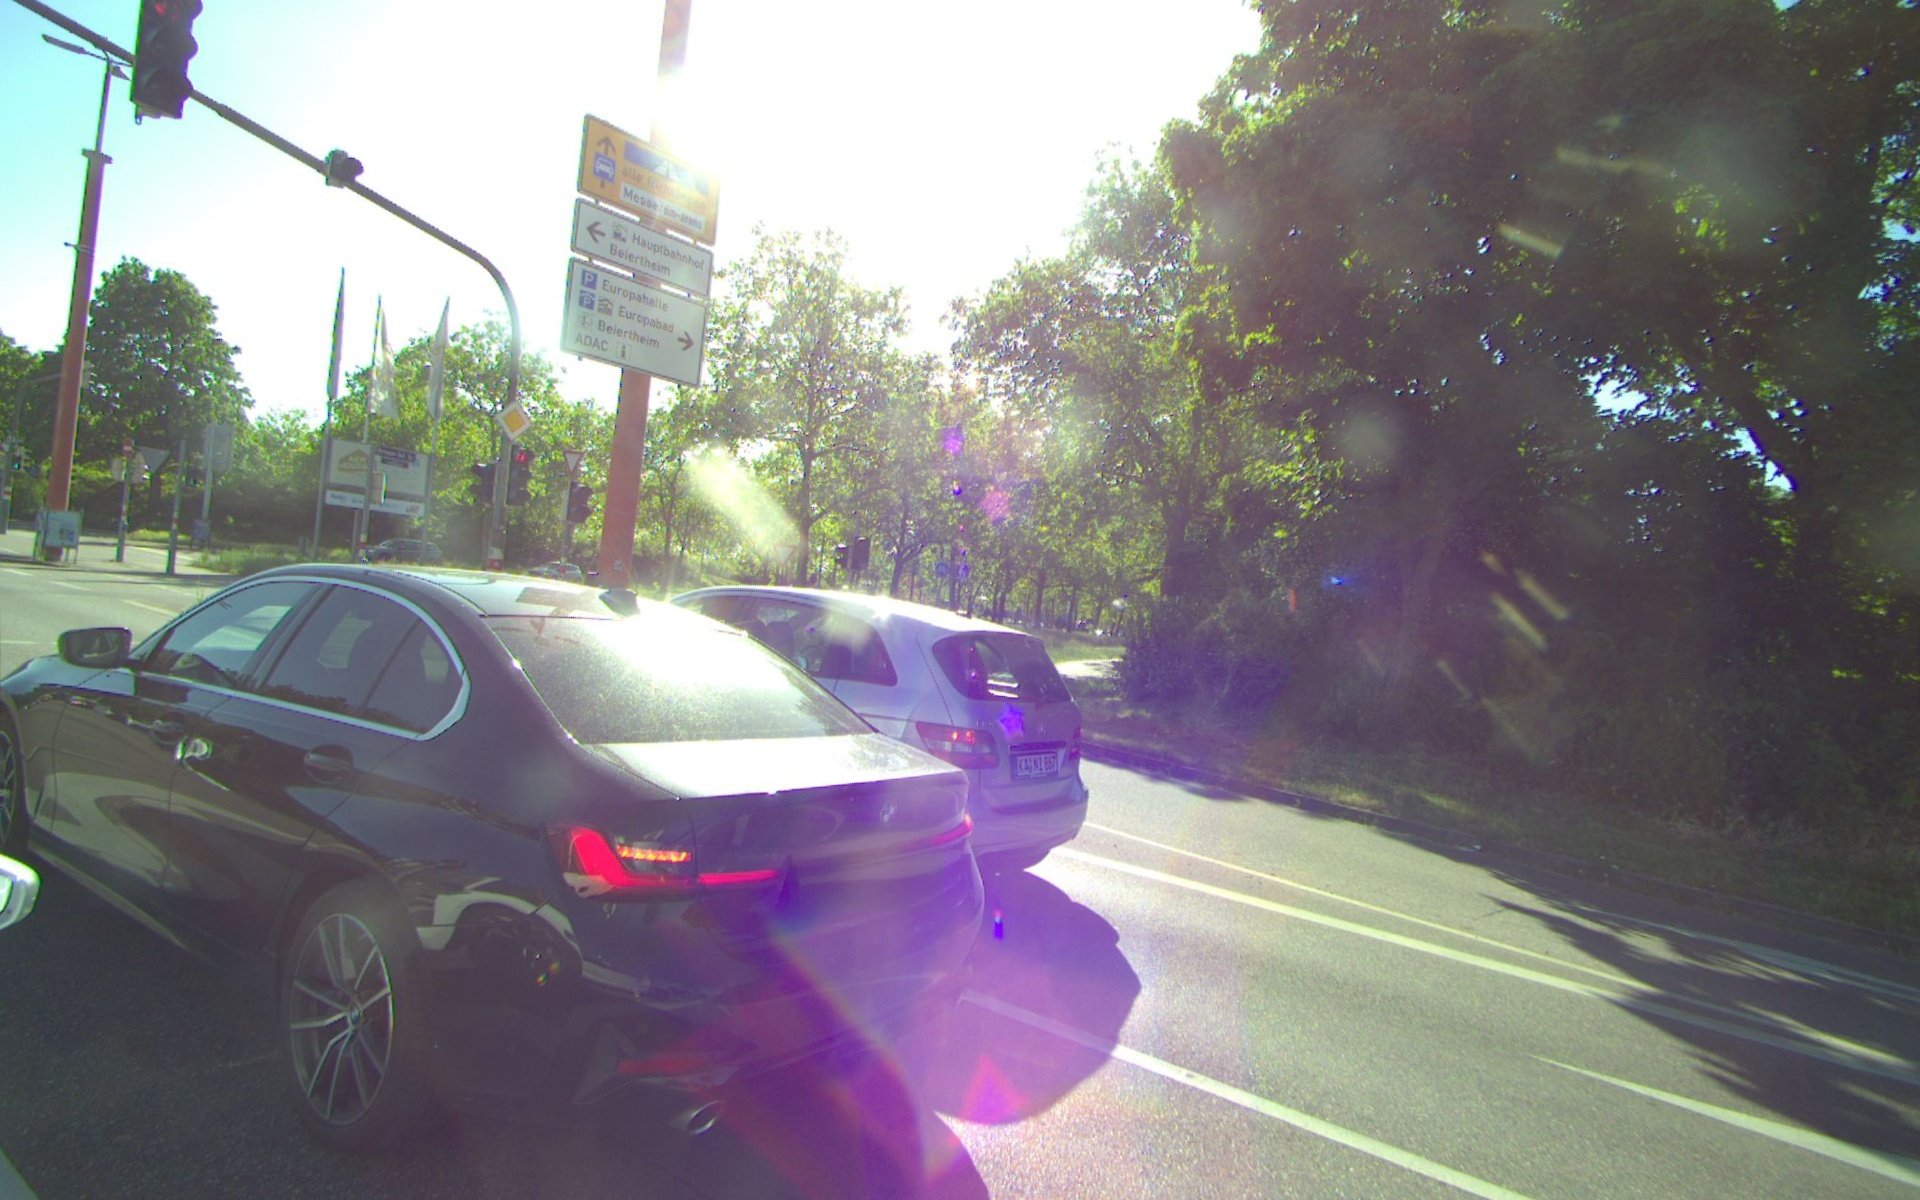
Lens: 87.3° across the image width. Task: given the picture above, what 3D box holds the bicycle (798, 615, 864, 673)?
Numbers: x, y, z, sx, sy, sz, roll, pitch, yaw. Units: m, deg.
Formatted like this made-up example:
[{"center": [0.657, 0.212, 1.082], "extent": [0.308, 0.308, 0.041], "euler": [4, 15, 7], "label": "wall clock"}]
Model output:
[{"center": [-2.661, 0.919, 20.942], "extent": [0.709, 1.070, 1.833], "euler": [7, -1, 11], "label": "bicycle"}]

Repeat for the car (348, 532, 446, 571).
[{"center": [-30.840, -2.623, 55.237], "extent": [1.755, 1.503, 4.322], "euler": [7, -1, 31], "label": "car"}]

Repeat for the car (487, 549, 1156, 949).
[{"center": [-1.006, 0.707, 6.486], "extent": [3.963, 1.597, 1.741], "euler": [7, 0, 33], "label": "car"}]

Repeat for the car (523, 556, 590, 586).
[{"center": [-26.437, -1.867, 66.028], "extent": [1.653, 1.485, 3.995], "euler": [7, -1, 21], "label": "car"}]

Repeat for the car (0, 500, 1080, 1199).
[{"center": [-1.987, 0.544, 3.832], "extent": [4.371, 1.415, 1.871], "euler": [7, 0, 33], "label": "car"}]

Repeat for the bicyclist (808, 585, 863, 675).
[{"center": [-2.586, 0.622, 20.980], "extent": [0.722, 1.763, 0.997], "euler": [7, 0, 8], "label": "bicyclist"}]
